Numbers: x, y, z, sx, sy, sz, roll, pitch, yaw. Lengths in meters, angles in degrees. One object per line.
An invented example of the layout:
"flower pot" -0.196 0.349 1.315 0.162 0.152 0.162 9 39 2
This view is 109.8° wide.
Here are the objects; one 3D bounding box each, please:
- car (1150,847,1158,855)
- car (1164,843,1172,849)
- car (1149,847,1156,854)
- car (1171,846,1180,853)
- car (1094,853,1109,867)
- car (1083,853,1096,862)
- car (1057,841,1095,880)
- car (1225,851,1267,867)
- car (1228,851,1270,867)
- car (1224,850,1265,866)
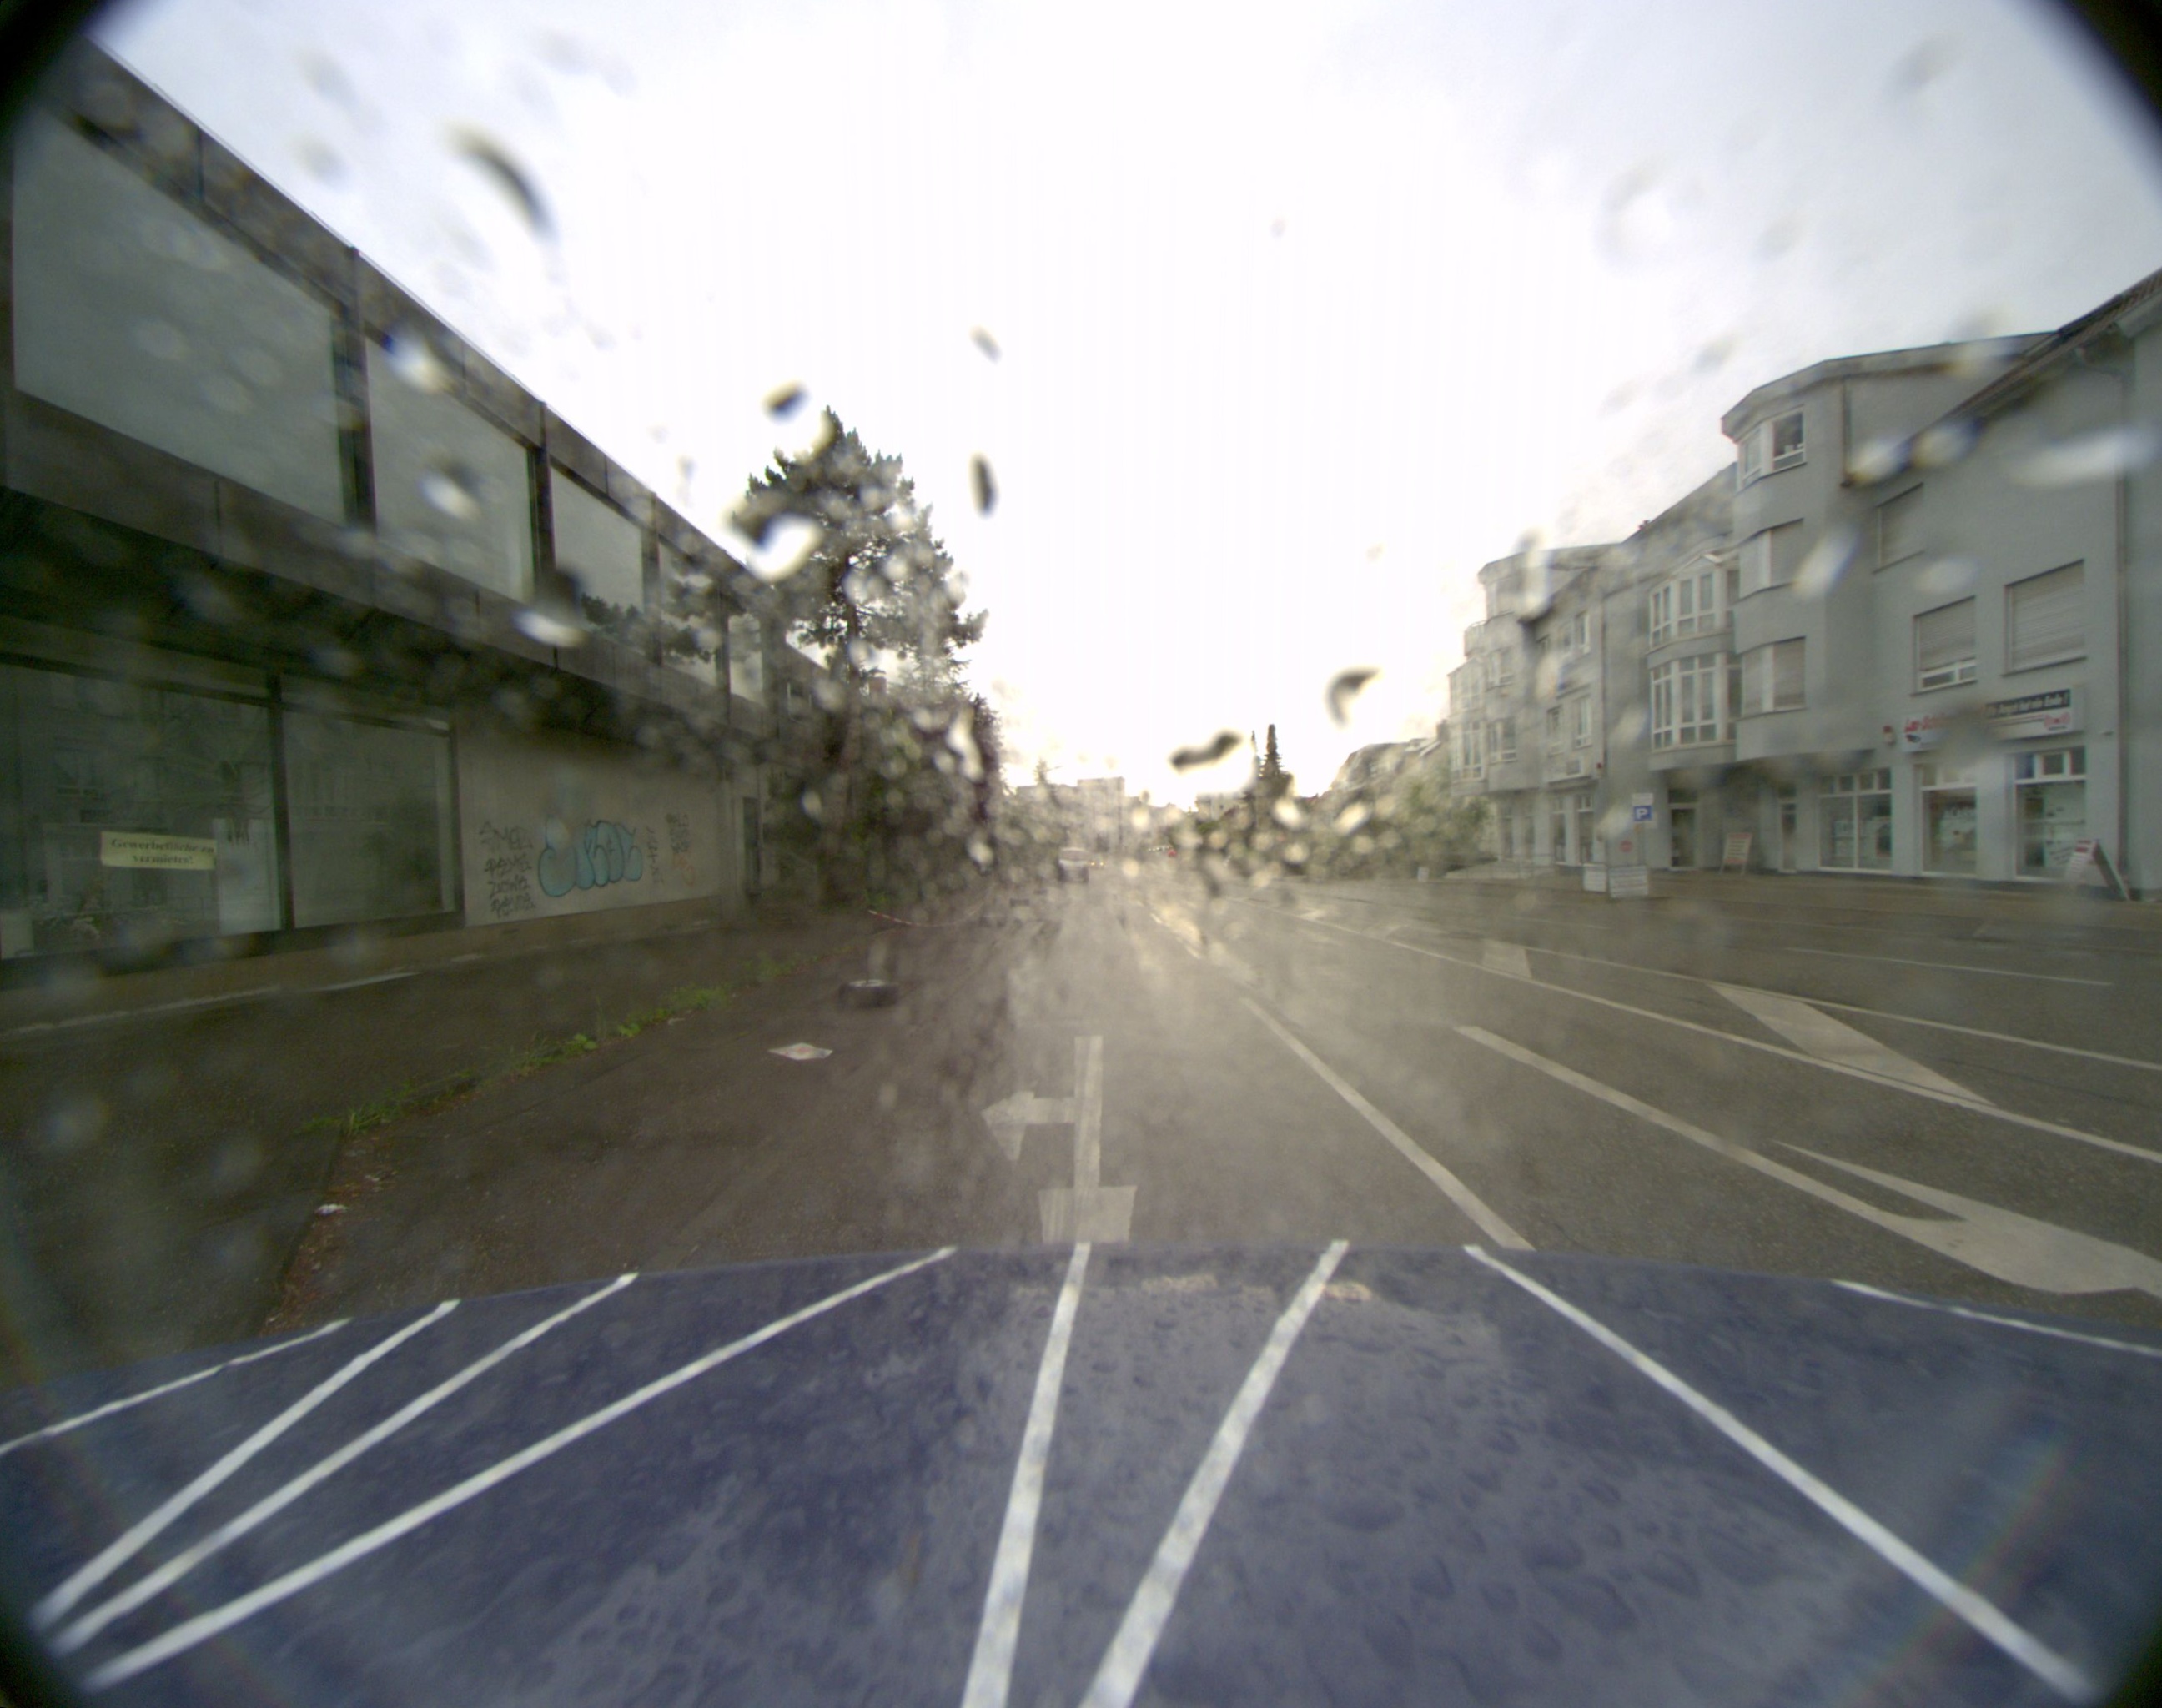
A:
"car" 17.675 -0.708 184.098 1.851 1.870 4.122 -1 0 5
"car" 24.479 -2.209 214.526 1.850 1.753 4.124 -1 0 11
"car" 17.977 -0.839 191.222 1.851 1.753 4.123 -1 0 6
"car" 22.478 -1.066 180.741 1.997 1.606 4.003 -1 0 11
"car" 2.759 0.839 101.395 1.835 1.783 3.837 -3 0 1
"car" 1.462 0.586 133.949 1.912 1.622 3.703 -1 0 5
"car" -0.267 0.427 51.646 2.397 2.417 6.433 -1 0 1
"car" 17.385 0.540 80.197 4.155 1.434 1.891 -3 0 8
"car" 17.148 0.530 77.713 4.034 1.434 1.813 -3 0 6
"car" 17.797 0.463 82.907 4.114 1.536 2.001 -3 0 6
